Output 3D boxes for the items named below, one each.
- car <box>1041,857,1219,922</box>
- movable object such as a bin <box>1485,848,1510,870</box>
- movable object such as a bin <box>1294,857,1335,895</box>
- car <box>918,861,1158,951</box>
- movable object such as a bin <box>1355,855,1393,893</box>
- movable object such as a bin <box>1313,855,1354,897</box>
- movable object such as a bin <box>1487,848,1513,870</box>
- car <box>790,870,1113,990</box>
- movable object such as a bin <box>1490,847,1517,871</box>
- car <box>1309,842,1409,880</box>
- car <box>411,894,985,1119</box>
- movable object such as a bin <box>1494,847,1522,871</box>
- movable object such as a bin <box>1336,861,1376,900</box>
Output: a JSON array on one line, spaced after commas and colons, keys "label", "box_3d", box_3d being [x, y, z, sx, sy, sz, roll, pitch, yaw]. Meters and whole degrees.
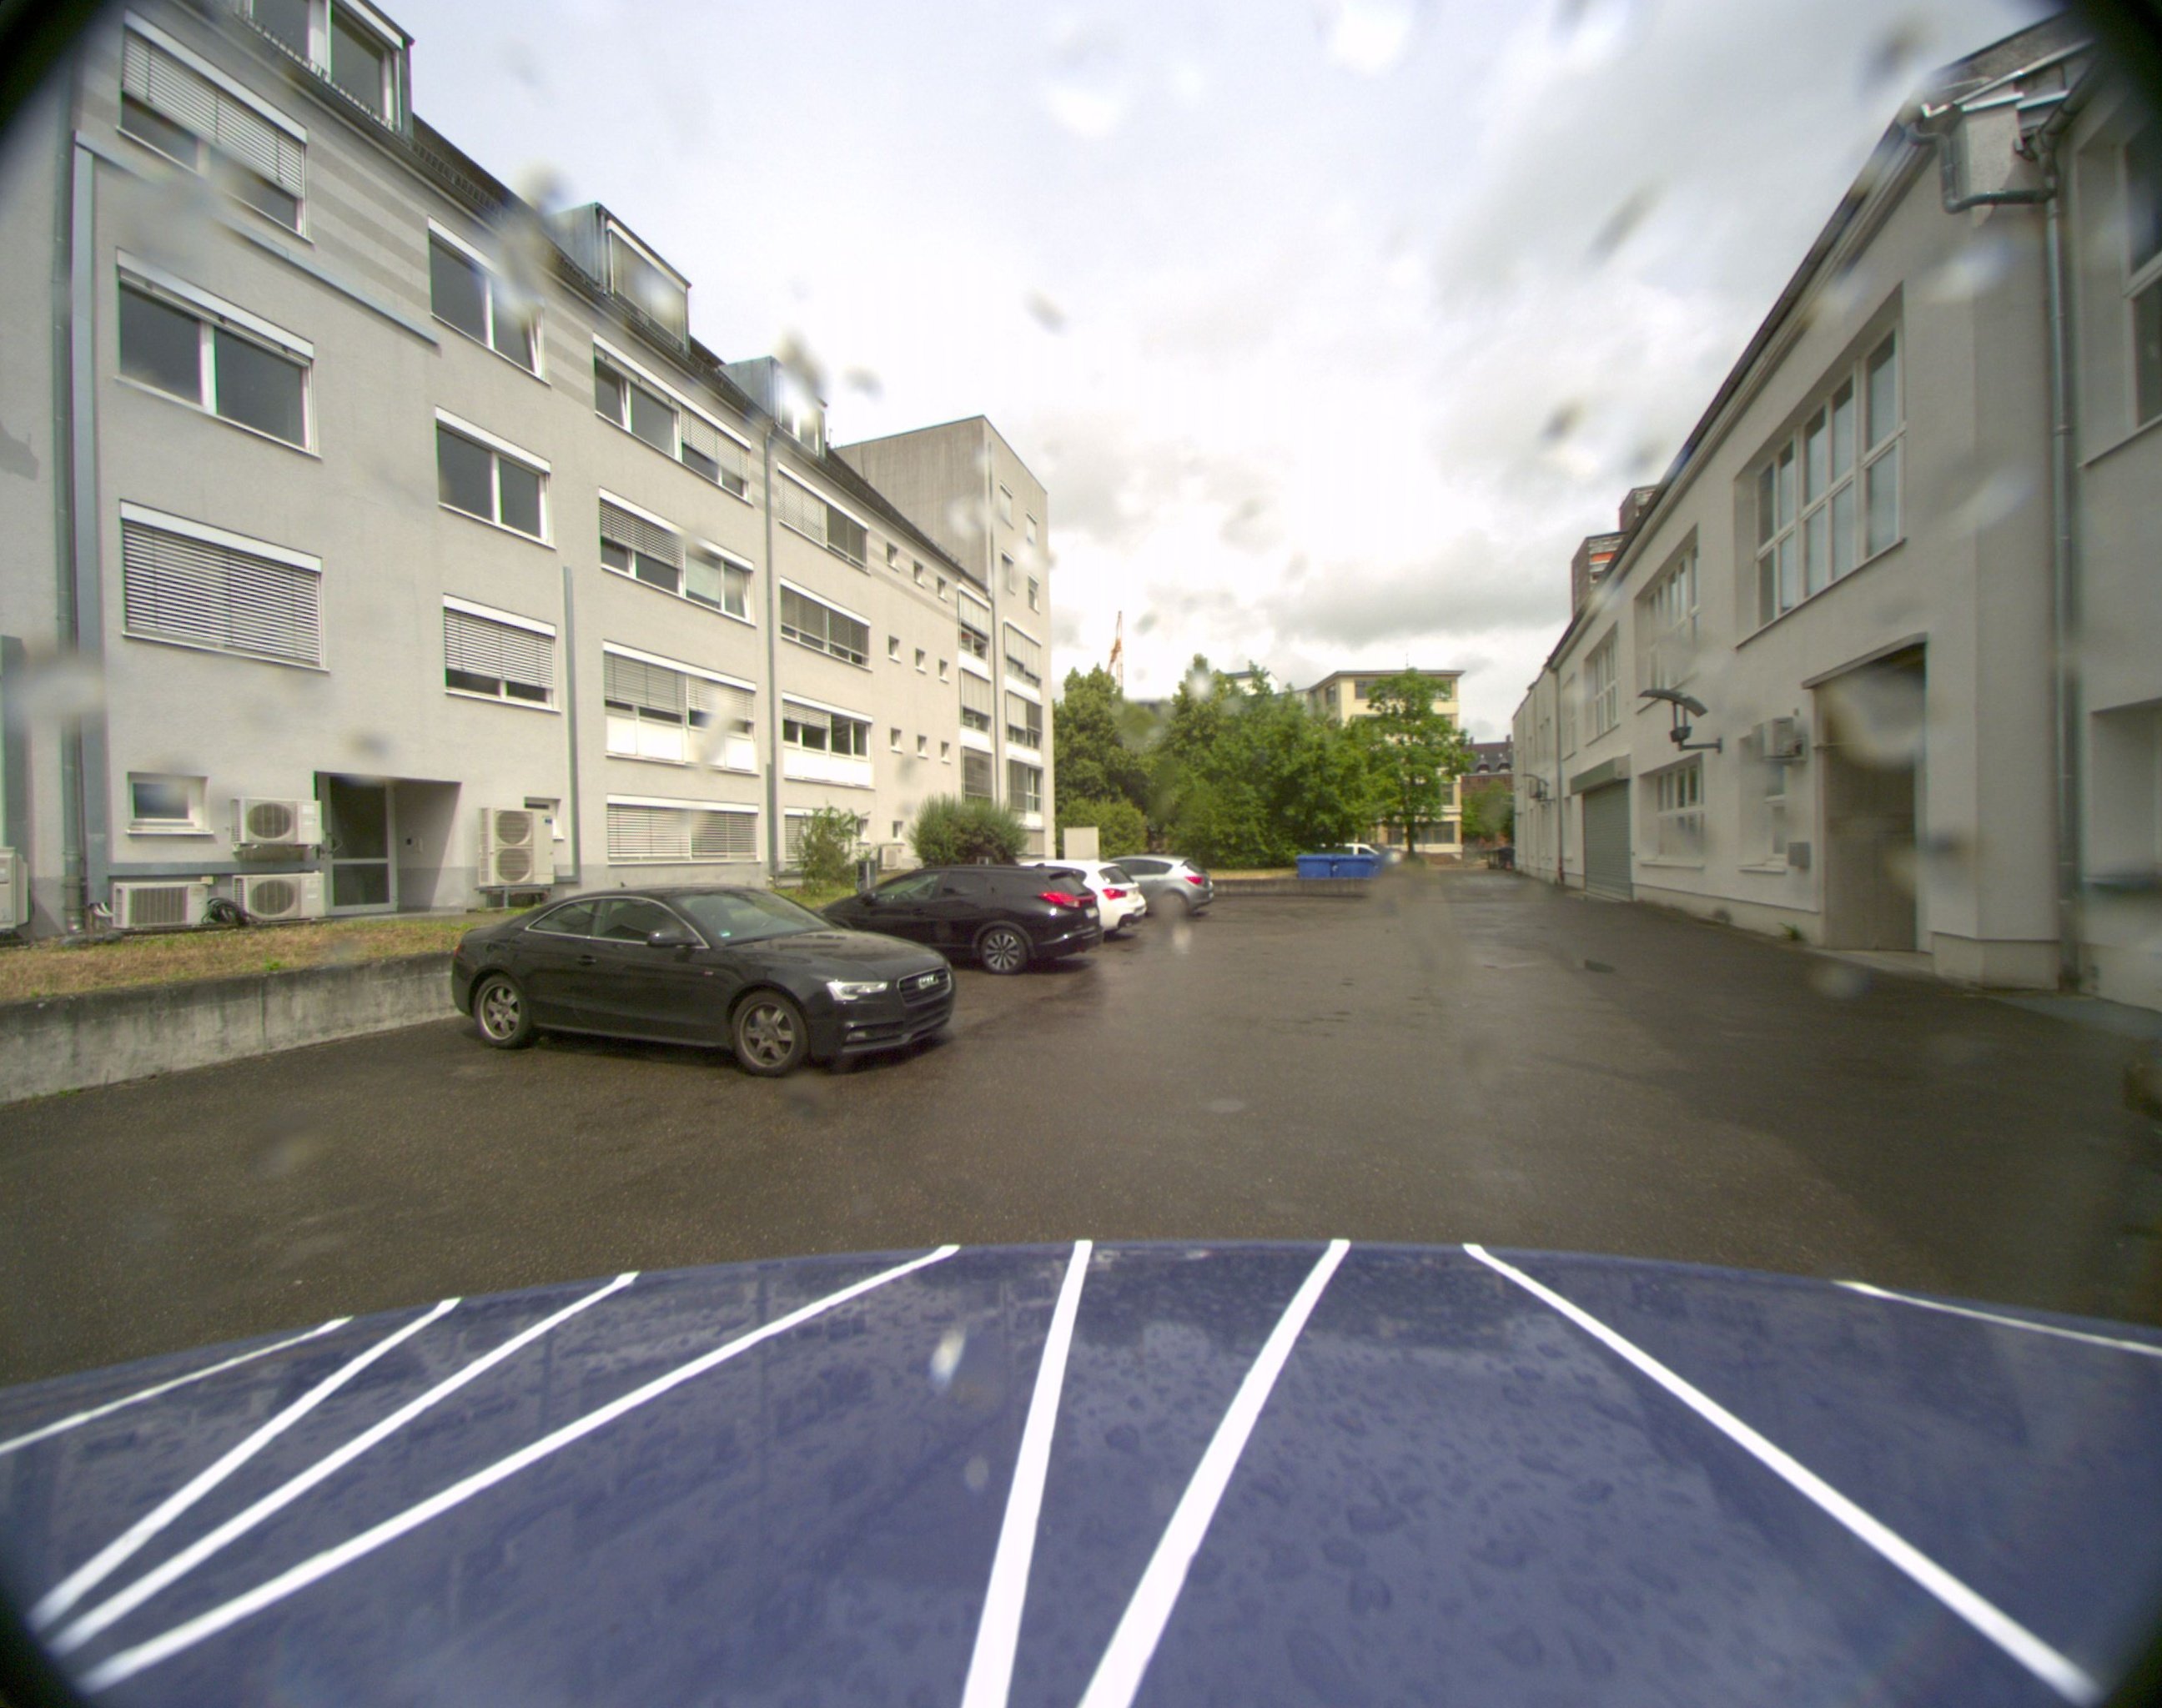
[{"label": "car", "box_3d": [1.230, 0.823, 18.915, 4.083, 1.450, 1.670, 0, 2, 21]}, {"label": "movable object such as a bin", "box_3d": [29.072, 0.368, 53.082, 1.410, 1.462, 1.563, -2, -1, 24]}, {"label": "movable object such as a bin", "box_3d": [8.194, 0.747, 26.646, 1.230, 1.309, 1.057, 0, 0, 24]}, {"label": "car", "box_3d": [-0.793, 0.887, 14.277, 4.101, 1.447, 1.836, 0, 1, 20]}, {"label": "movable object such as a bin", "box_3d": [10.627, 0.732, 27.561, 1.175, 1.309, 1.057, -2, -1, 24]}, {"label": "movable object such as a bin", "box_3d": [9.270, 0.790, 27.848, 1.276, 1.474, 1.103, -2, -1, 24]}, {"label": "movable object such as a bin", "box_3d": [28.433, 0.356, 51.615, 1.361, 1.462, 1.467, -2, -1, 24]}, {"label": "car", "box_3d": [-1.810, 0.983, 11.022, 4.174, 1.393, 1.942, 0, 1, 18]}, {"label": "movable object such as a bin", "box_3d": [27.230, 0.336, 49.025, 1.361, 1.462, 1.368, -2, -1, 24]}, {"label": "car", "box_3d": [15.448, 0.384, 42.226, 4.940, 2.002, 2.004, -1, 0, 28]}, {"label": "car", "box_3d": [-3.218, 1.084, 6.554, 4.358, 1.340, 1.863, 0, 0, 18]}, {"label": "movable object such as a bin", "box_3d": [26.643, 0.319, 47.398, 1.361, 1.462, 1.368, -2, -1, 24]}, {"label": "movable object such as a bin", "box_3d": [9.435, 0.884, 26.059, 1.230, 1.309, 1.057, 0, 0, 24]}]
